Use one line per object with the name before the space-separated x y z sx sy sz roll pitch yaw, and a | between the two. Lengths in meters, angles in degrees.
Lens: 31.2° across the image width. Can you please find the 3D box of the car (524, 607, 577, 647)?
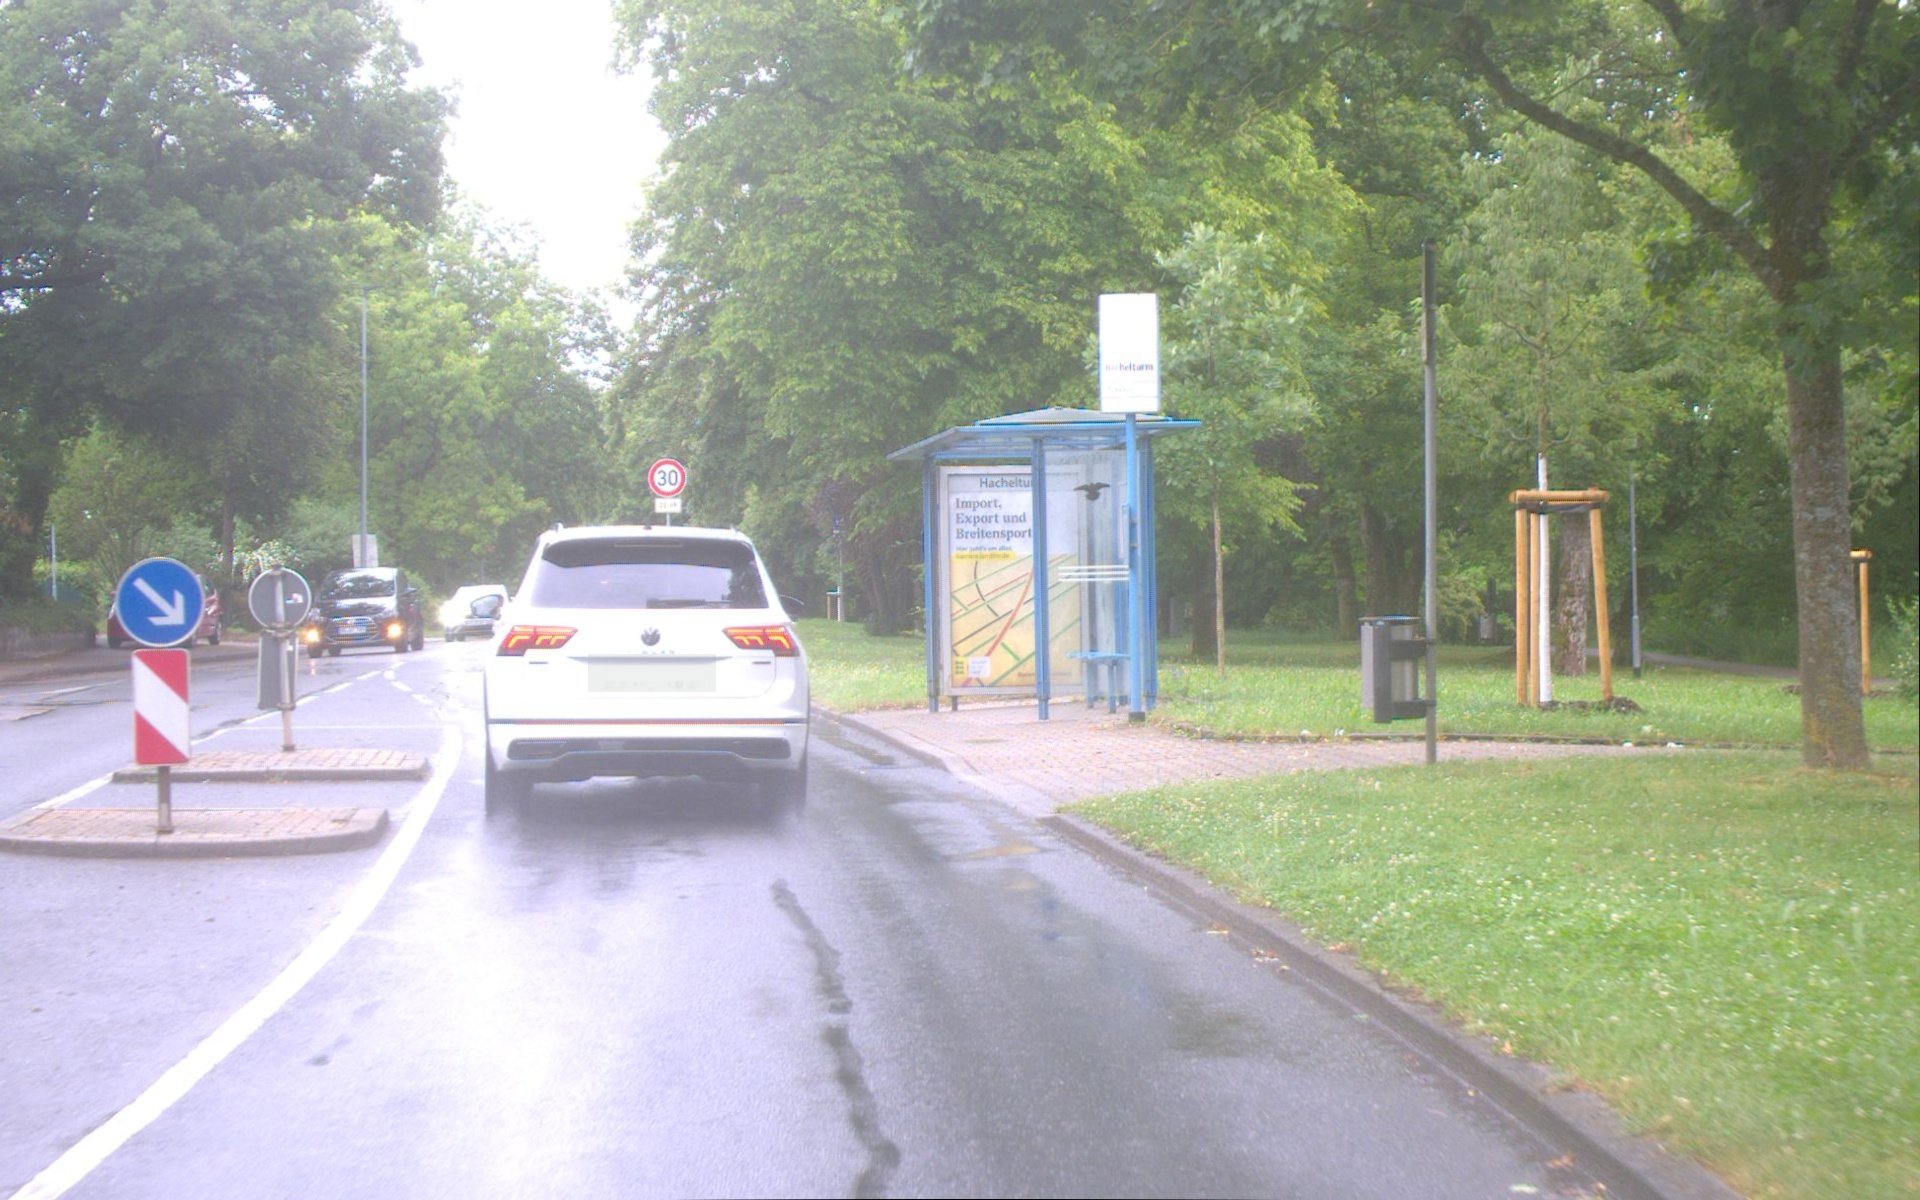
car | -15.632 1.032 131.343 1.700 1.405 4.009 -3 0 -4

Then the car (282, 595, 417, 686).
car | -11.264 0.720 63.218 1.993 1.571 4.001 0 1 -17

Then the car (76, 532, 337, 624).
car | -17.800 -0.514 81.548 5.742 2.031 3.480 1 0 -8

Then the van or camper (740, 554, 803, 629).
van or camper | -6.716 -0.285 123.363 2.016 2.574 8.436 1 0 -2

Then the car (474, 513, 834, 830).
car | -1.824 0.371 20.544 1.905 1.679 4.201 -1 0 -5

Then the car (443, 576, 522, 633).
car | -12.521 0.101 90.306 1.790 1.418 4.360 -1 1 -5
